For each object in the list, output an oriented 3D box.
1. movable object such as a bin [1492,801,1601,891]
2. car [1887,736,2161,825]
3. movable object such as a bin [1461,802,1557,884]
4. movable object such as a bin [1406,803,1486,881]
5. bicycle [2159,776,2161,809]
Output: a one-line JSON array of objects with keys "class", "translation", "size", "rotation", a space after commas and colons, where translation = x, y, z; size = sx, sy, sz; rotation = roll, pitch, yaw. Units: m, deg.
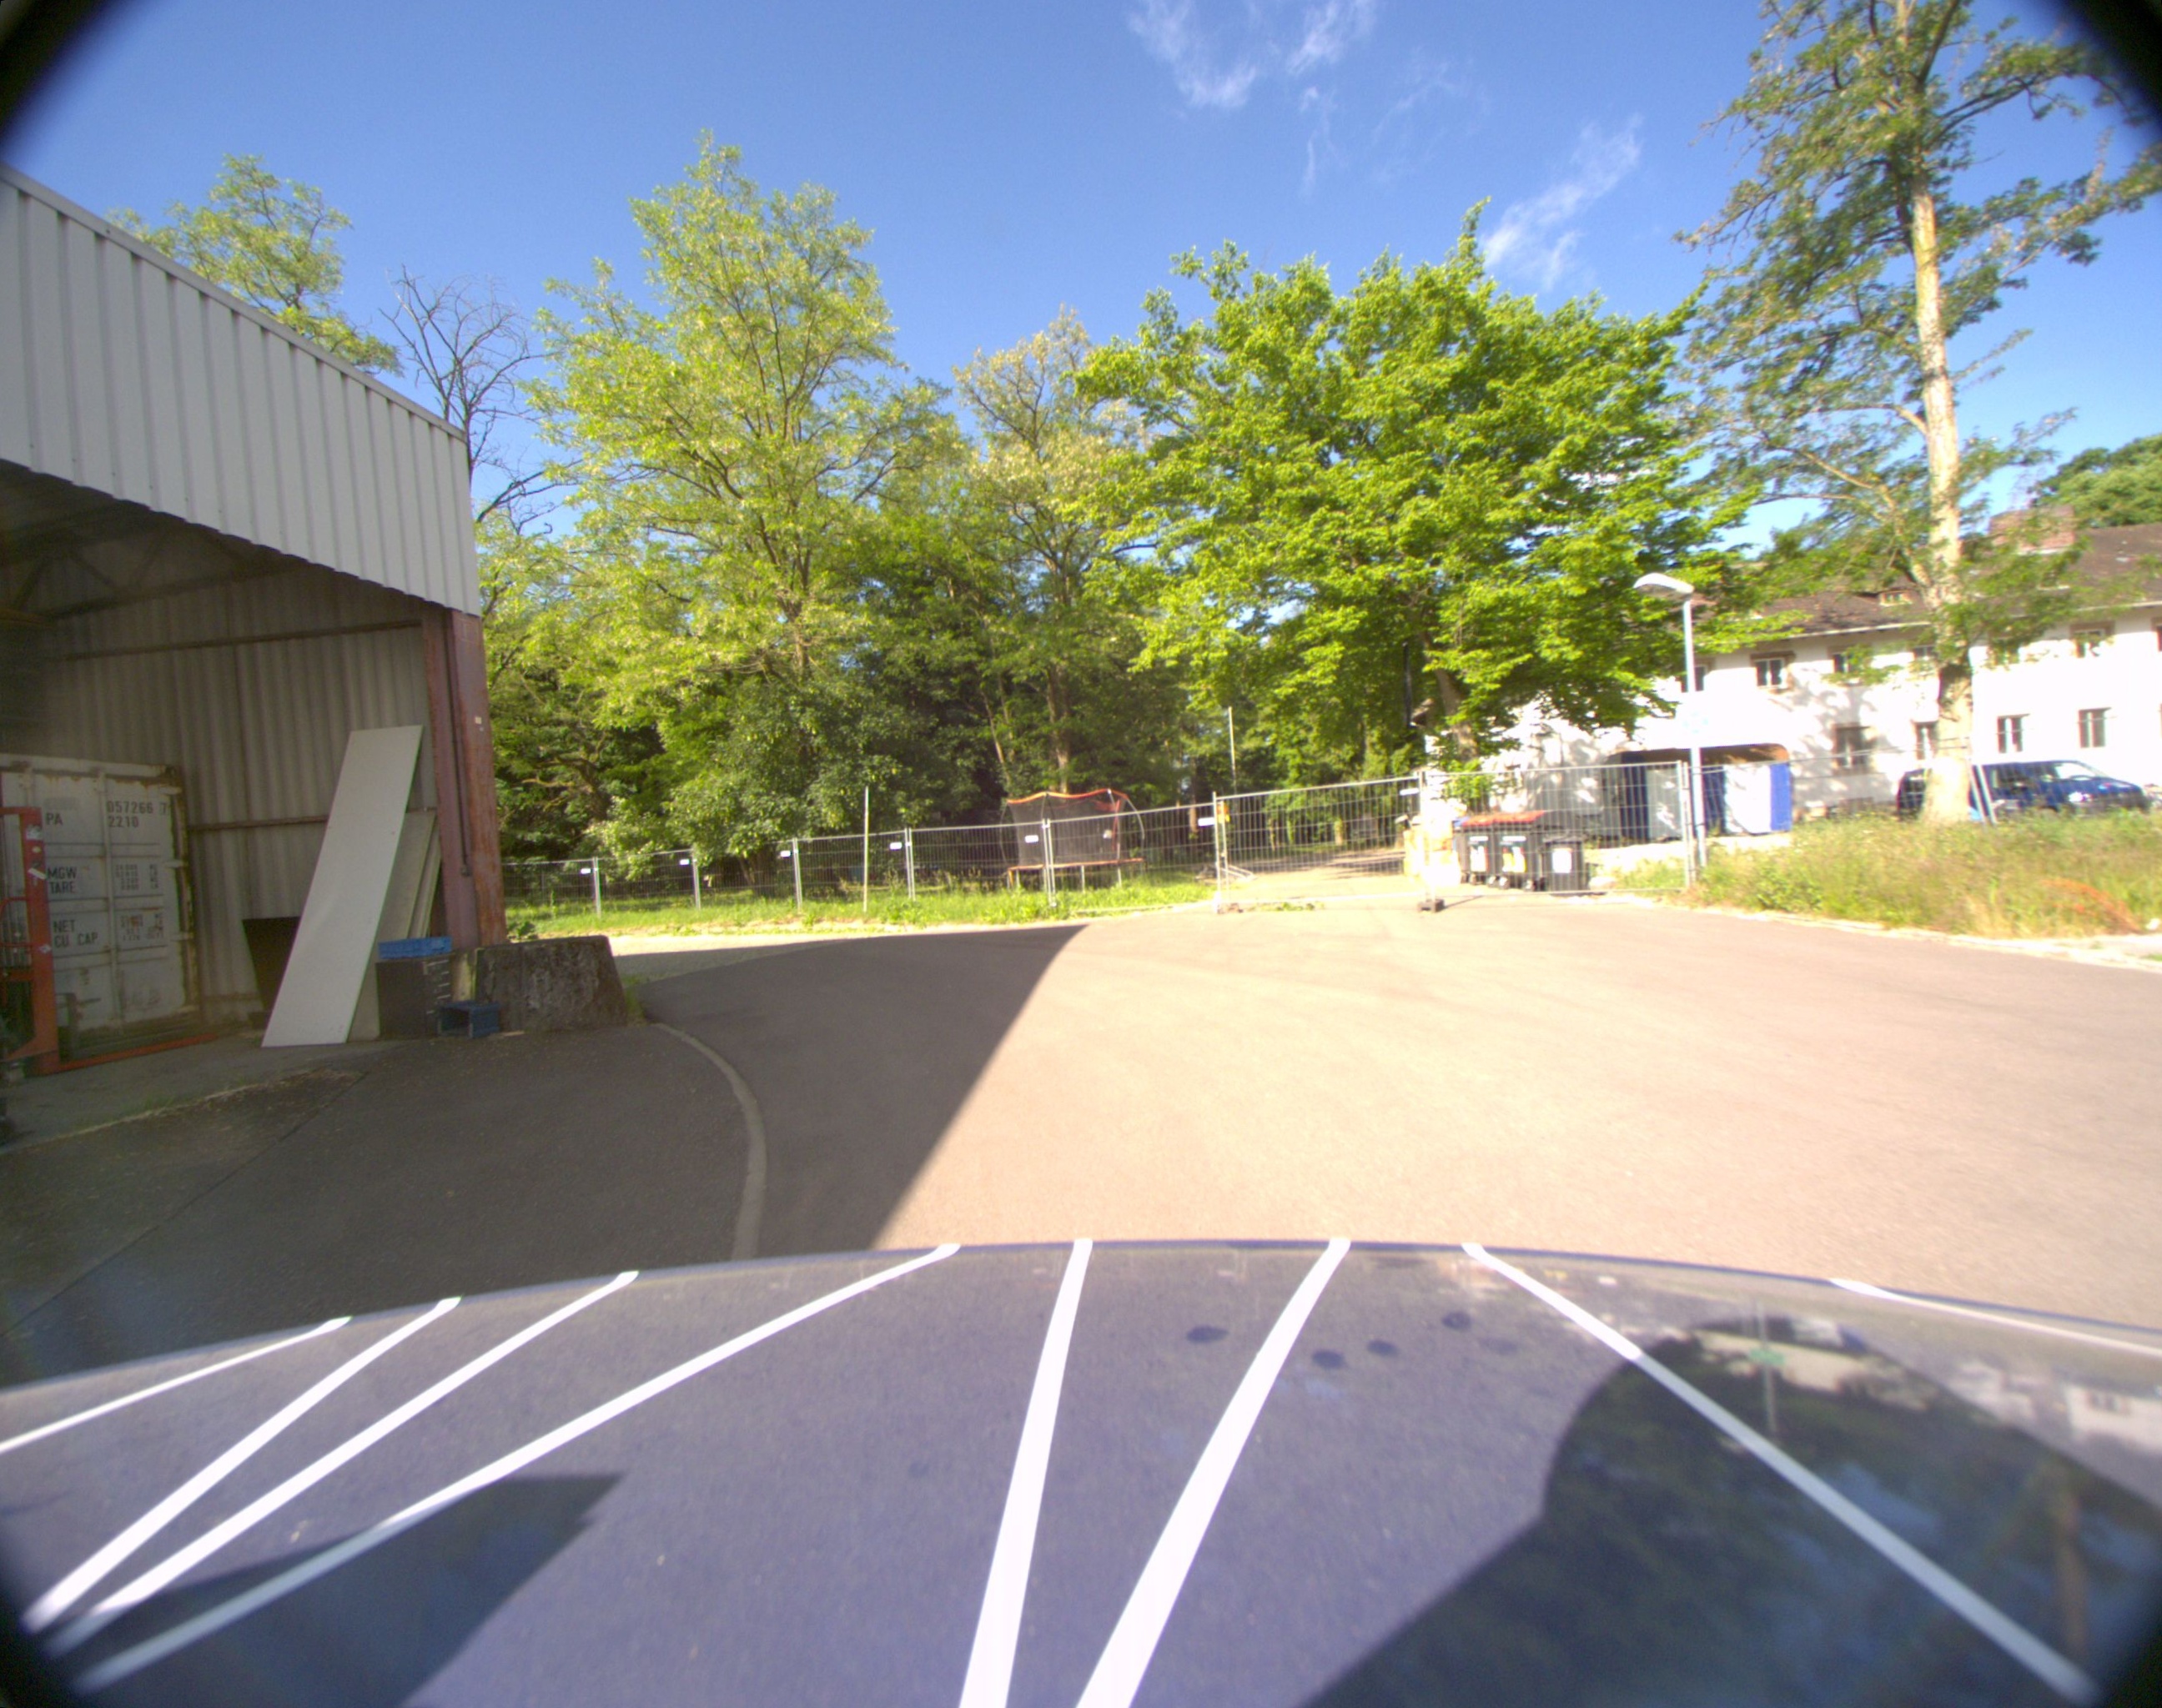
[{"class": "movable object such as a bin", "translation": [8.216, -0.147, 13.479], "size": [1.092, 1.424, 1.230], "rotation": [-6, 2, 0]}, {"class": "car", "translation": [25.742, -1.927, 20.887], "size": [2.057, 2.001, 4.874], "rotation": [-5, 3, 3]}, {"class": "movable object such as a bin", "translation": [8.304, -0.213, 14.809], "size": [1.092, 1.431, 1.230], "rotation": [-6, 2, 0]}, {"class": "movable object such as a bin", "translation": [8.017, -0.281, 16.739], "size": [1.092, 1.588, 1.230], "rotation": [-4, 3, 0]}, {"class": "bicycle", "translation": [37.168, -2.068, 25.068], "size": [0.794, 1.126, 1.835], "rotation": [-5, 3, 11]}]
